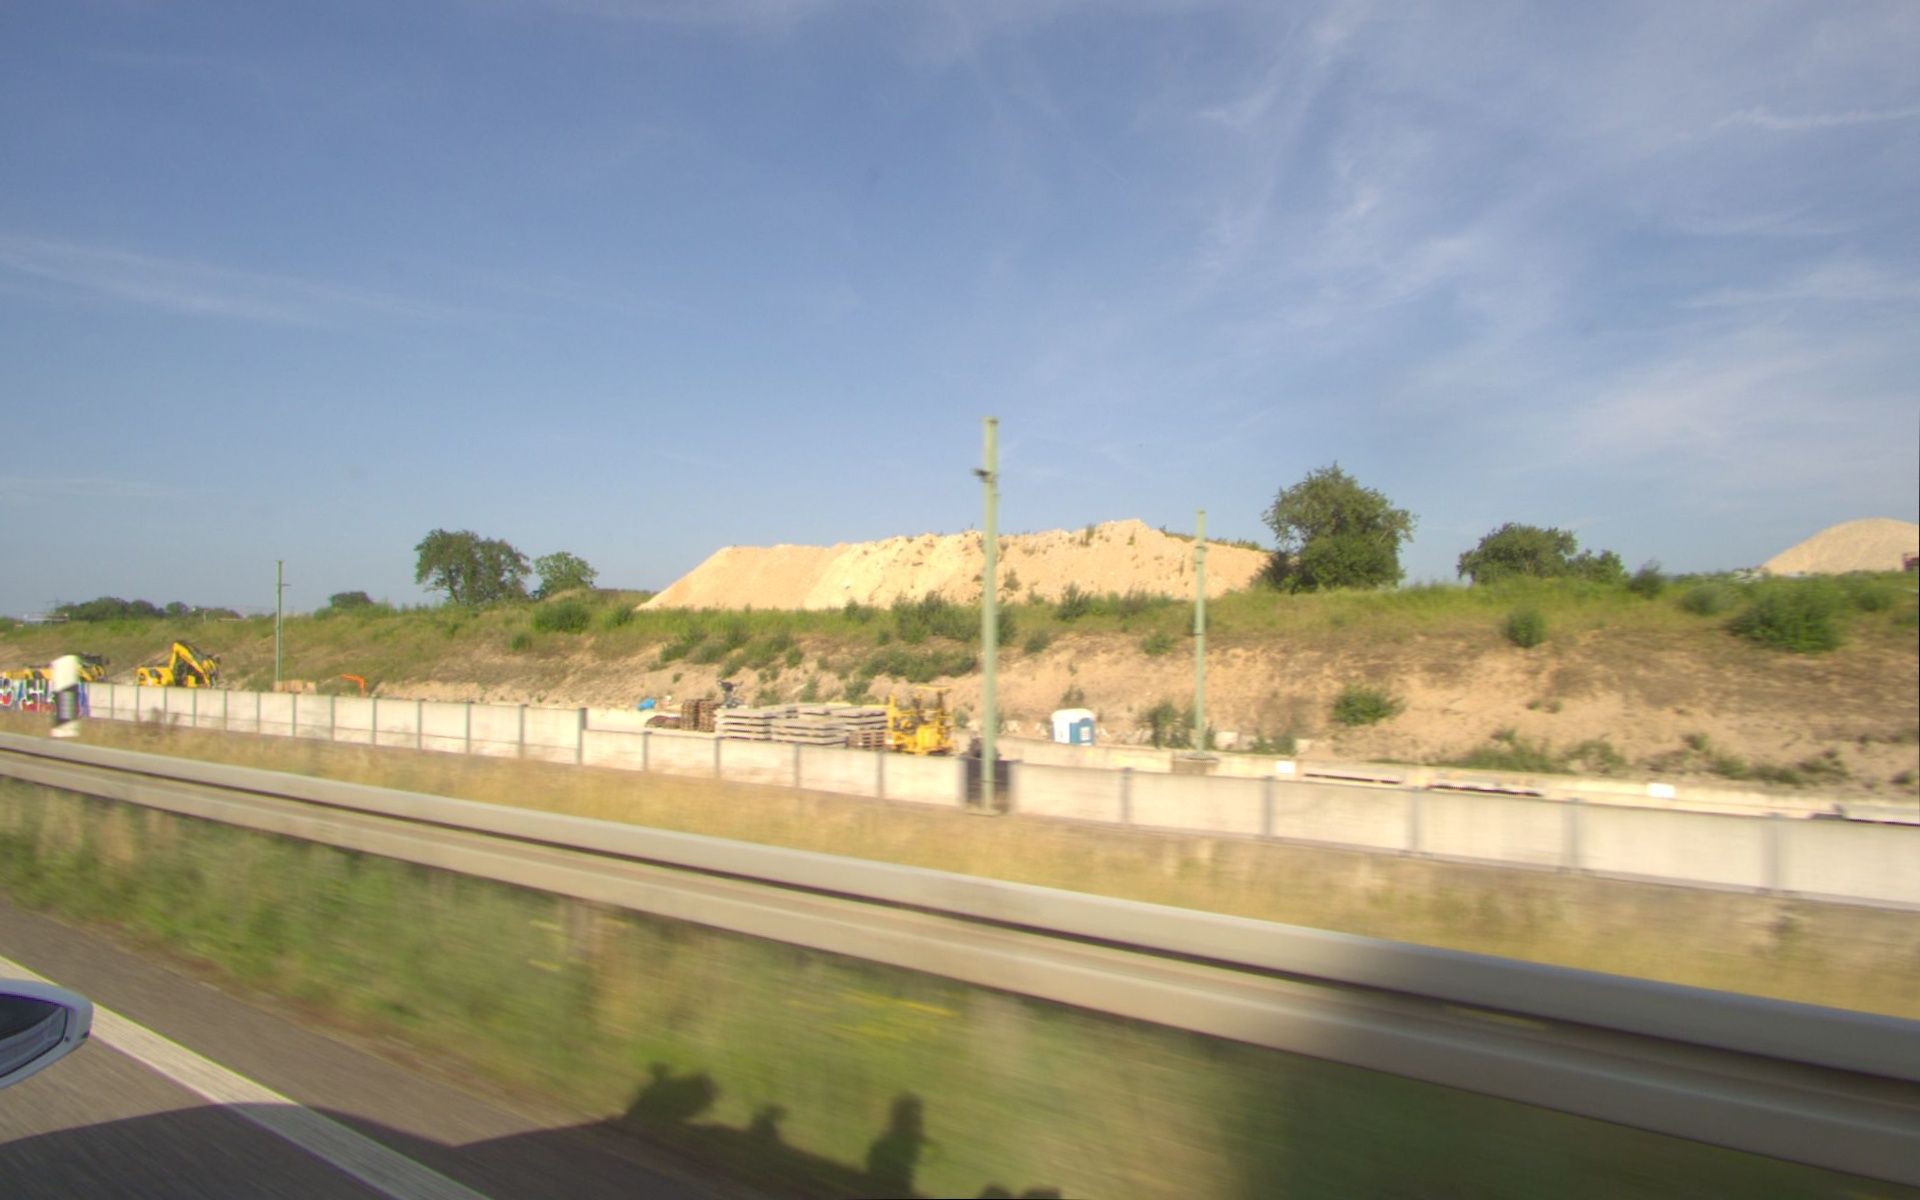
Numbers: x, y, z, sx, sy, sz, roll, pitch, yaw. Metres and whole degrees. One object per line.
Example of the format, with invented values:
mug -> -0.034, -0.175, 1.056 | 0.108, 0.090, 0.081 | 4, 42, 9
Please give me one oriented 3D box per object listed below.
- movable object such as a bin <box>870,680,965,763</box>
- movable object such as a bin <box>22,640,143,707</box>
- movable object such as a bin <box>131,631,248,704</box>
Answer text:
movable object such as a bin -> -1.545, 4.352, 36.418 | 2.874, 2.695, 2.007 | 1, -1, -33
movable object such as a bin -> -47.361, 3.862, 53.969 | 7.956, 3.280, 2.618 | -1, -2, 31
movable object such as a bin -> -44.021, 3.734, 57.164 | 7.428, 3.936, 2.792 | -1, -1, 31
